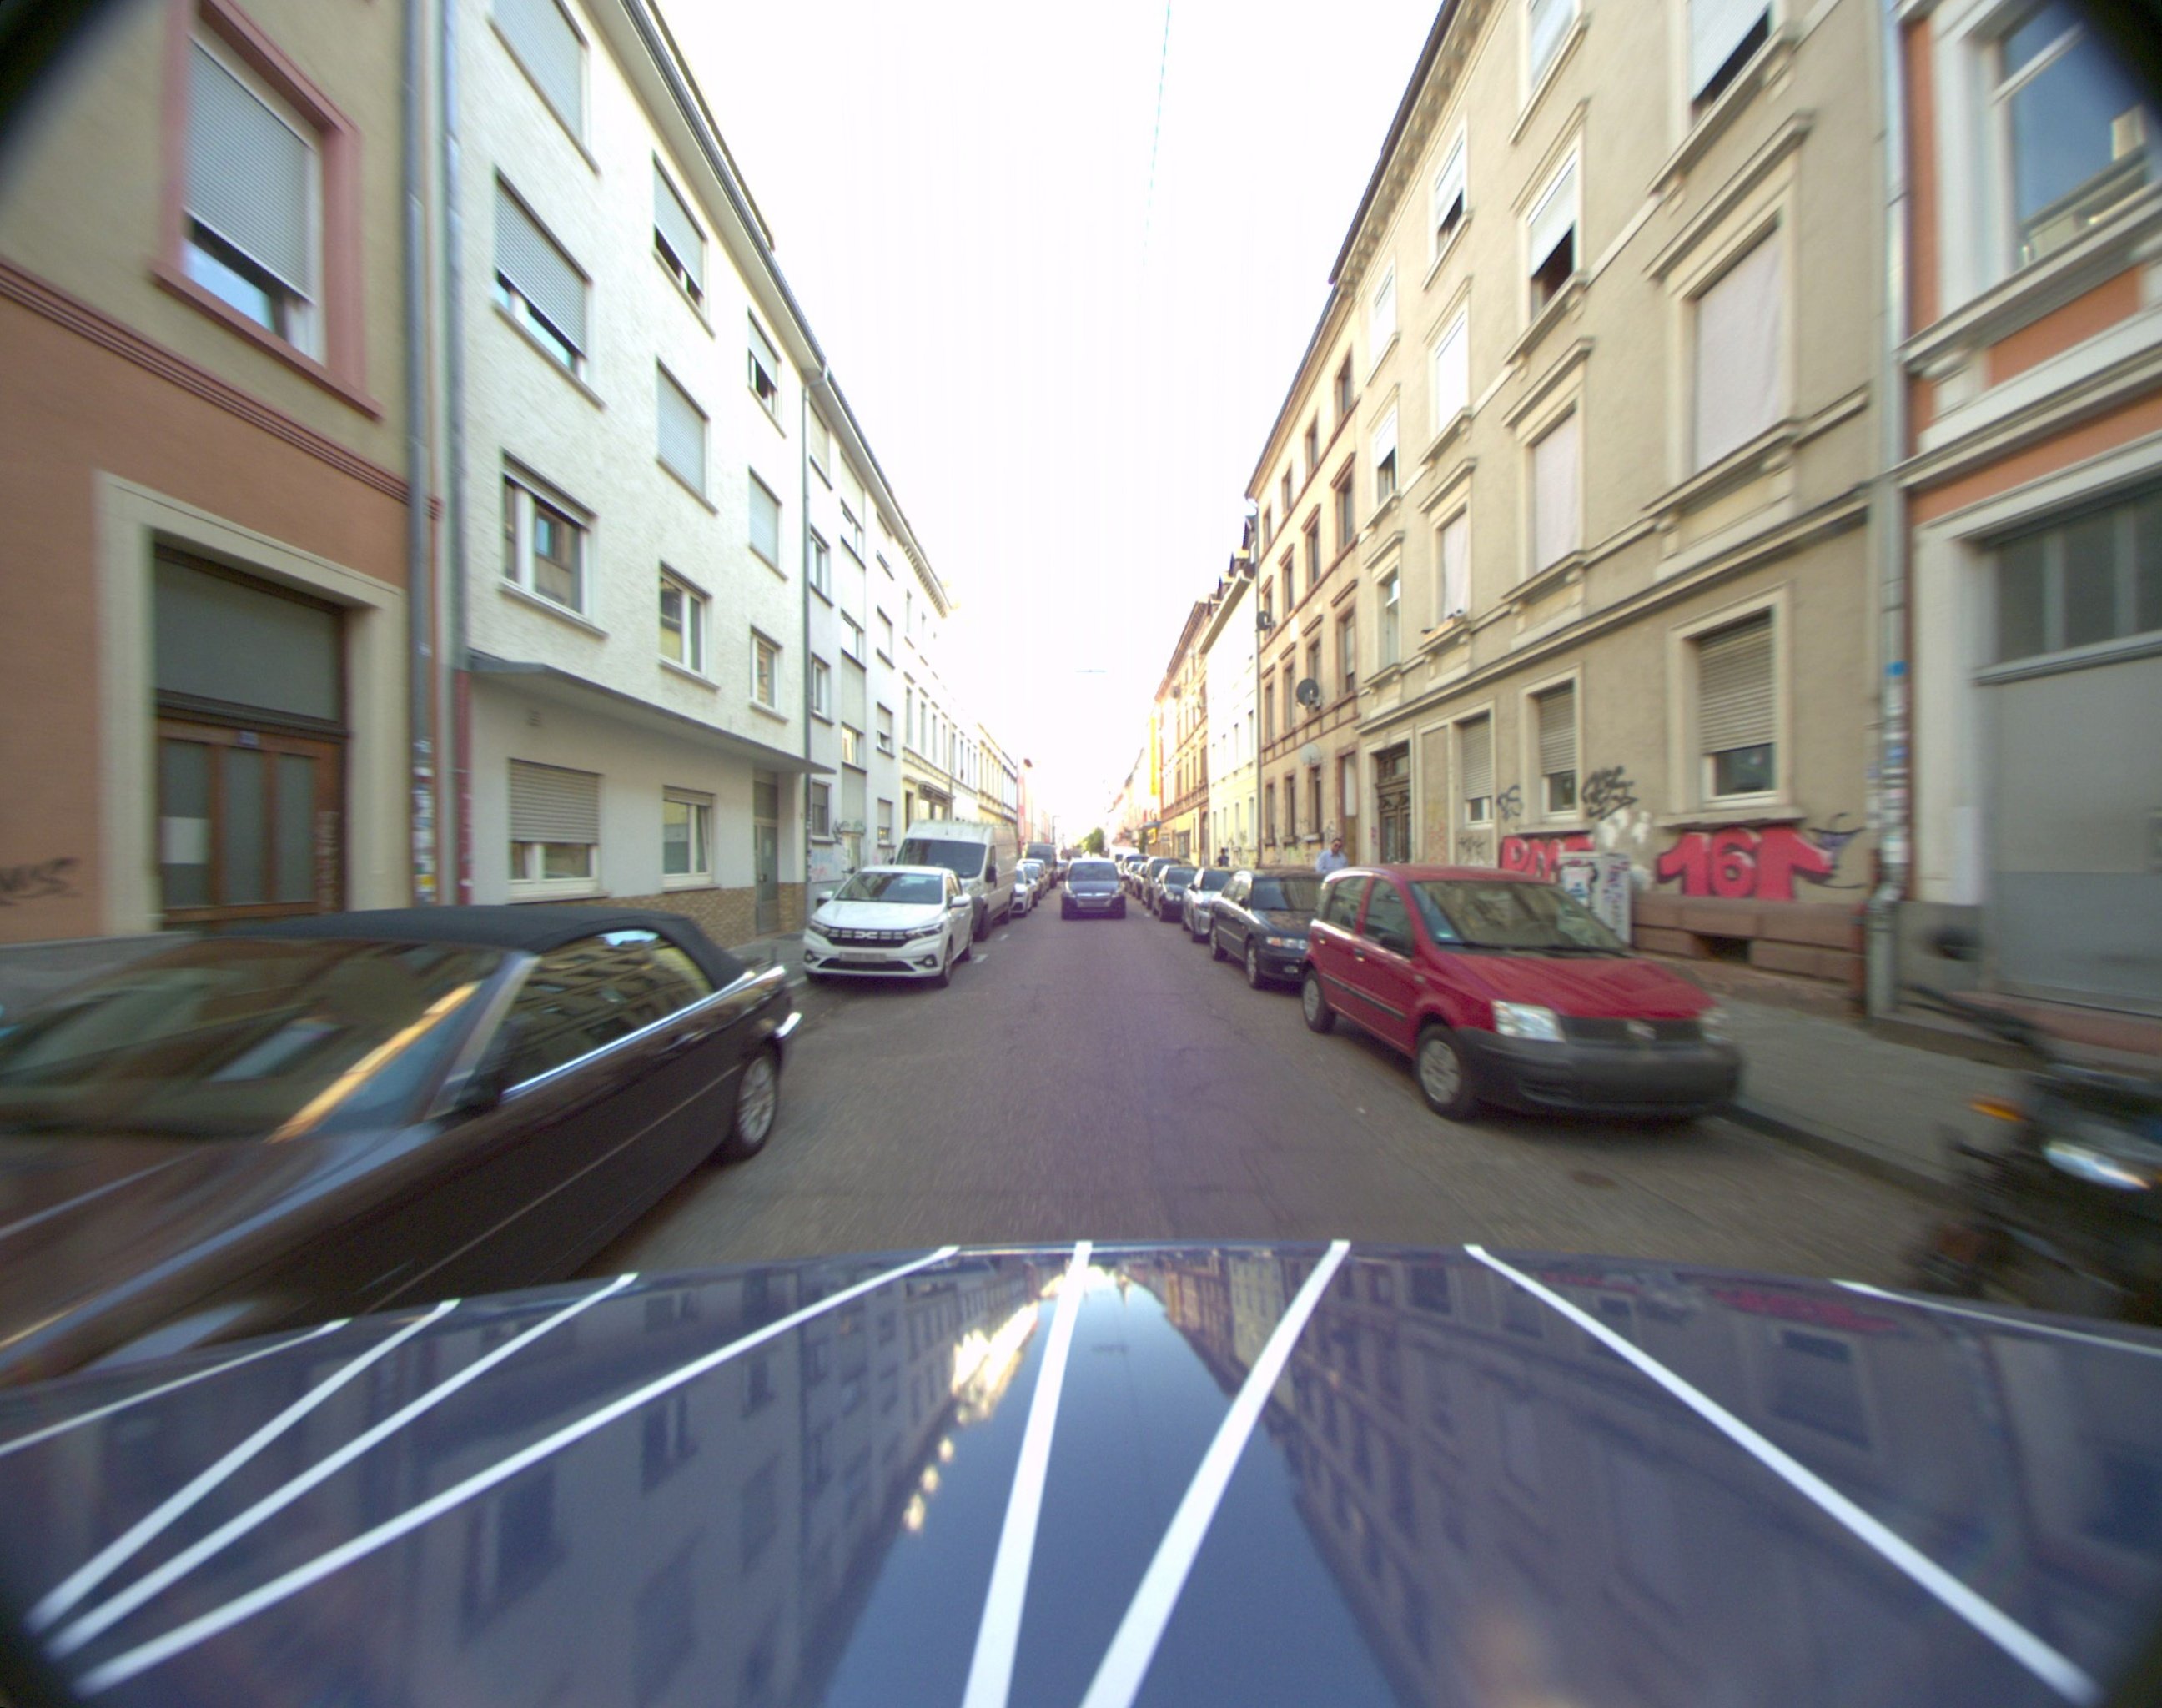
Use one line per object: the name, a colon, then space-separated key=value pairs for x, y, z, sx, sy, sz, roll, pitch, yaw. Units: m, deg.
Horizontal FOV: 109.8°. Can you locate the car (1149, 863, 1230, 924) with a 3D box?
car: x=2.837 y=0.993 z=20.575 sx=1.683 sy=1.454 sz=3.860 roll=-1 pitch=0 yaw=1

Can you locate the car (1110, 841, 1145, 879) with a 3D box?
car: x=3.262 y=0.411 z=54.354 sx=2.094 sy=2.576 sz=5.842 roll=-1 pitch=0 yaw=0

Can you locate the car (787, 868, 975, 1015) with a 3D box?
car: x=-2.545 y=1.028 z=10.582 sx=1.684 sy=1.550 sz=3.859 roll=-2 pitch=0 yaw=-2

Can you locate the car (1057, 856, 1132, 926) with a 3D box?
car: x=0.325 y=0.910 z=21.251 sx=1.798 sy=1.652 sz=5.184 roll=-2 pitch=0 yaw=0

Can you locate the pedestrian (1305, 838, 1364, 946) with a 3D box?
pedestrian: x=4.436 y=0.648 z=13.338 sx=0.790 sy=1.820 sz=0.594 roll=-2 pitch=1 yaw=1

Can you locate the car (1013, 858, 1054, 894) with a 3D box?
car: x=-2.301 y=1.030 z=37.710 sx=1.683 sy=1.625 sz=3.860 roll=-2 pitch=0 yaw=0

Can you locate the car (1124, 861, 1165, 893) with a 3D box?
car: x=2.984 y=1.047 z=36.321 sx=1.683 sy=1.407 sz=3.860 roll=-1 pitch=0 yaw=1

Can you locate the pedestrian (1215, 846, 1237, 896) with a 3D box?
pedestrian: x=5.318 y=0.617 z=27.852 sx=0.626 sy=1.820 sz=0.594 roll=-2 pitch=1 yaw=1

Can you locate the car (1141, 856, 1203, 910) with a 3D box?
car: x=3.000 y=0.907 z=25.711 sx=1.683 sy=1.674 sz=3.860 roll=-1 pitch=0 yaw=1

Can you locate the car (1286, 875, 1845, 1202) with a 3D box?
car: x=2.892 y=0.952 z=5.550 sx=1.684 sy=1.483 sz=3.611 roll=-1 pitch=0 yaw=-2

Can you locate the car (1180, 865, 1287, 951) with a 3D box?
car: x=2.960 y=0.984 z=15.417 sx=1.683 sy=1.454 sz=3.861 roll=-1 pitch=0 yaw=5

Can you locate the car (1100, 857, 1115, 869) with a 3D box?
car: x=3.118 y=1.065 z=90.683 sx=1.683 sy=1.381 sz=3.860 roll=-1 pitch=0 yaw=1

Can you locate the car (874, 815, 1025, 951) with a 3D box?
car: x=-2.713 y=0.549 z=17.403 sx=2.050 sy=2.498 sz=6.024 roll=-2 pitch=0 yaw=3

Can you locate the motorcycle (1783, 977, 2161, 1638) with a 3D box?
motorcycle: x=3.158 y=1.071 z=2.210 sx=2.083 sy=1.121 sz=0.789 roll=-2 pitch=0 yaw=-21

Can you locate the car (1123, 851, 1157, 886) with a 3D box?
car: x=3.305 y=0.769 z=43.032 sx=1.751 sy=1.880 sz=4.772 roll=-1 pitch=0 yaw=3

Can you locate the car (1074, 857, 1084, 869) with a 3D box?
car: x=-0.301 y=1.576 z=132.831 sx=1.683 sy=2.077 sz=4.159 roll=-2 pitch=0 yaw=0

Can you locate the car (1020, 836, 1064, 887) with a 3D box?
car: x=-2.169 y=0.423 z=43.878 sx=2.050 sy=2.662 sz=6.185 roll=-2 pitch=0 yaw=1

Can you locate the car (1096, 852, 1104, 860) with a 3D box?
car: x=4.325 y=0.451 z=174.620 sx=1.683 sy=1.851 sz=4.159 roll=-2 pitch=0 yaw=0

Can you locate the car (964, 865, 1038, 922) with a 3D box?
car: x=-2.266 y=1.095 z=22.435 sx=1.683 sy=1.434 sz=3.860 roll=-2 pitch=0 yaw=1

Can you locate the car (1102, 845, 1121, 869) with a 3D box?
car: x=3.009 y=0.314 z=75.669 sx=1.683 sy=2.352 sz=4.098 roll=-1 pitch=0 yaw=1

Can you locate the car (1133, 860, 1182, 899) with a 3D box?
car: x=3.082 y=1.013 z=31.279 sx=1.683 sy=1.448 sz=3.860 roll=-1 pitch=0 yaw=1

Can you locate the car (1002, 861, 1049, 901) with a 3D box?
car: x=-2.291 y=1.088 z=32.425 sx=1.683 sy=1.511 sz=3.859 roll=-2 pitch=0 yaw=0

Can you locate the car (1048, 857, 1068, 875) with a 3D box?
car: x=-2.139 y=1.092 z=71.206 sx=1.683 sy=1.588 sz=3.860 roll=-2 pitch=0 yaw=0

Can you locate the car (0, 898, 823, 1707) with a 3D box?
car: x=-2.564 y=1.011 z=2.651 sx=1.772 sy=1.386 sz=4.494 roll=-2 pitch=0 yaw=0

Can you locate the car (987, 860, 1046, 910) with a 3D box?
car: x=-2.228 y=1.057 z=27.263 sx=1.683 sy=1.556 sz=3.860 roll=-2 pitch=0 yaw=1

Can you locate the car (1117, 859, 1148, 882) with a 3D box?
car: x=3.233 y=1.008 z=48.315 sx=1.683 sy=1.381 sz=3.860 roll=-1 pitch=0 yaw=1

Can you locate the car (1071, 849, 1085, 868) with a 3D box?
car: x=-0.481 y=0.845 z=139.641 sx=2.437 sy=3.404 sz=5.543 roll=-2 pitch=0 yaw=0

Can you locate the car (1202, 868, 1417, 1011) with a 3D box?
car: x=2.837 y=0.972 z=10.430 sx=1.683 sy=1.454 sz=4.313 roll=-1 pitch=0 yaw=1

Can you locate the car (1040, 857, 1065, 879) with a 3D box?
car: x=-2.182 y=1.047 z=58.378 sx=1.683 sy=1.588 sz=3.860 roll=-2 pitch=0 yaw=0

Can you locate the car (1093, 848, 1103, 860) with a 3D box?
car: x=4.559 y=-0.077 z=204.932 sx=2.565 sy=3.029 sz=7.061 roll=-2 pitch=0 yaw=0
